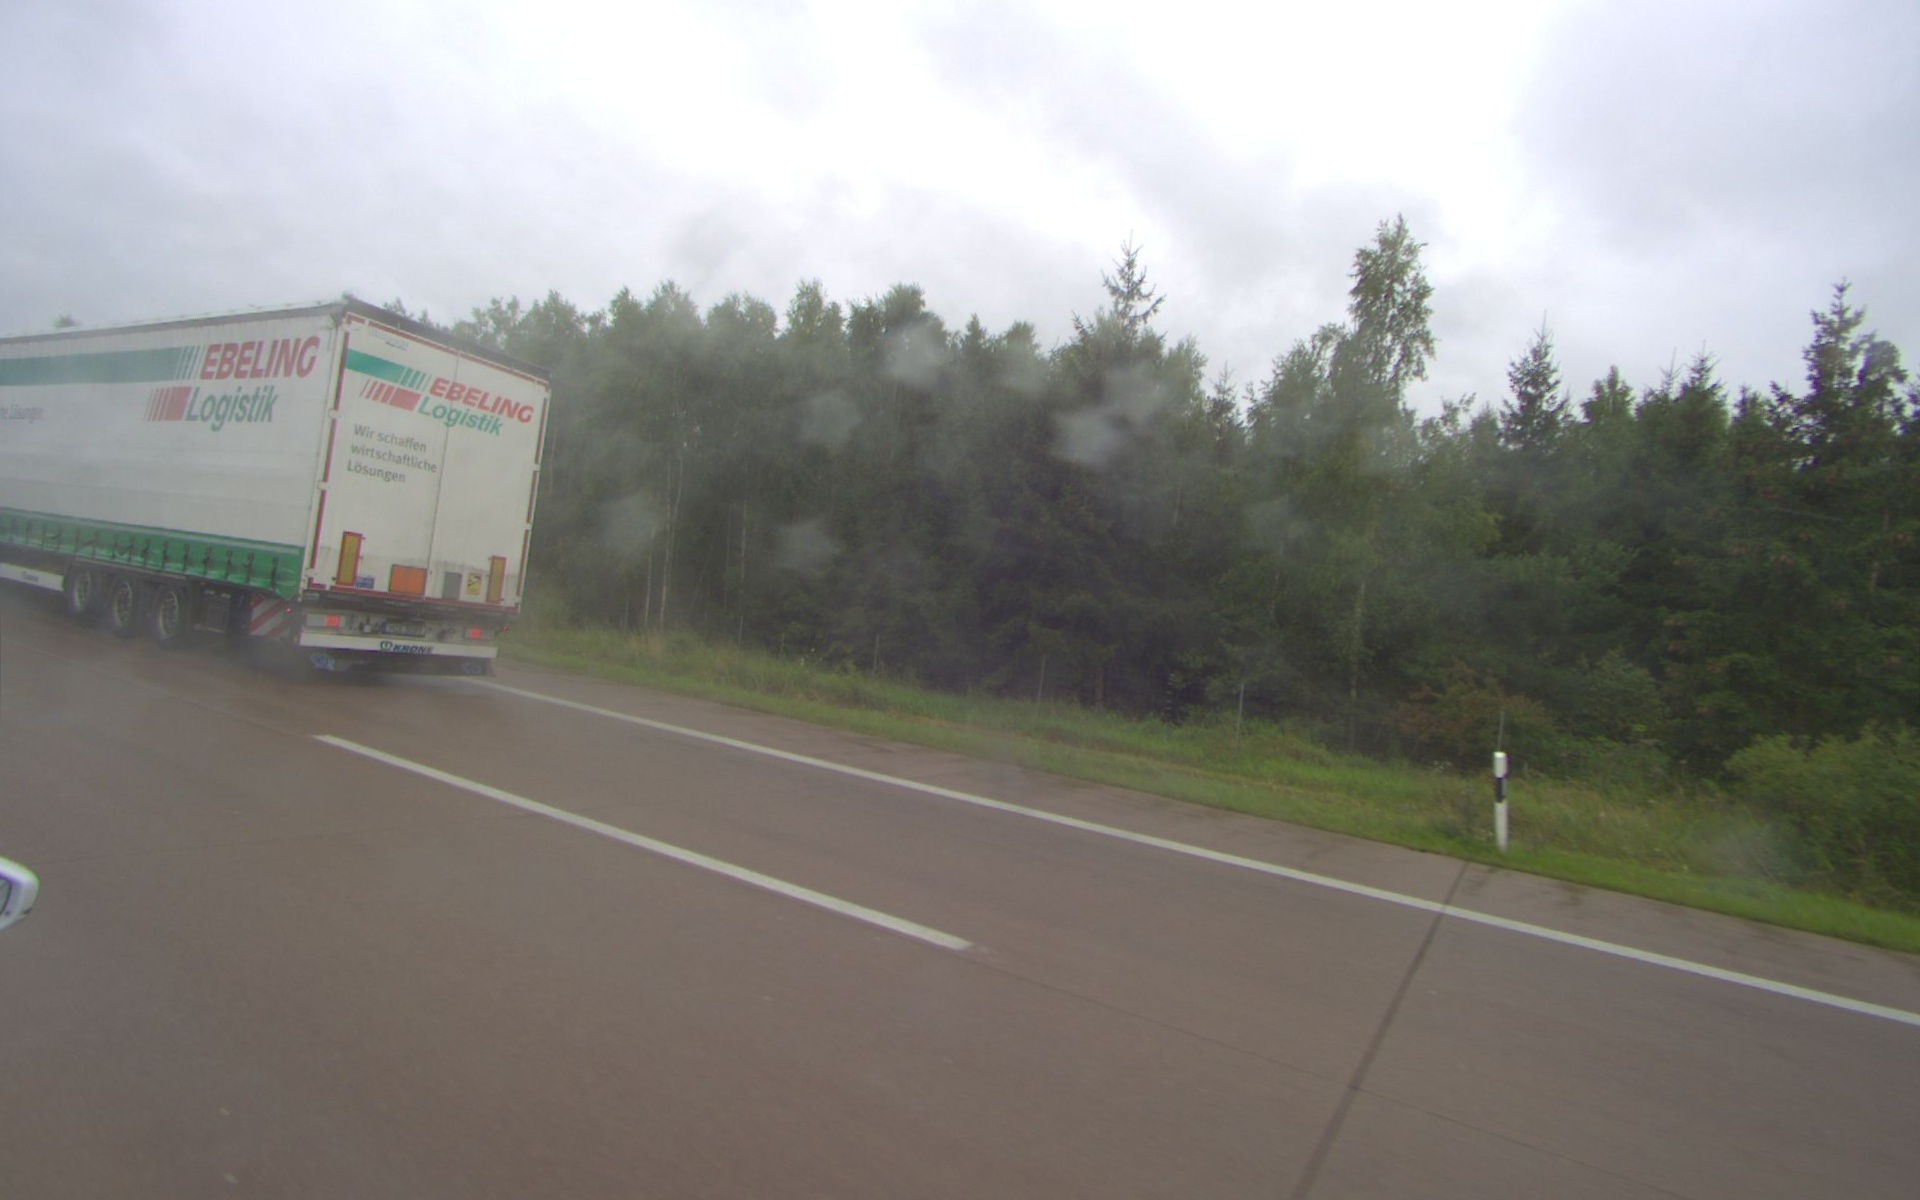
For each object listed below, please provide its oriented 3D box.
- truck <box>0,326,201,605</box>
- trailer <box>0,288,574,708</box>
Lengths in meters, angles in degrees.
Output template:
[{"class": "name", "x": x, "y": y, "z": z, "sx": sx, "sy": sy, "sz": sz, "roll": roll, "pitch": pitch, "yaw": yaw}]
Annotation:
[{"class": "truck", "x": -17.014, "y": -2.395, "z": 18.169, "sx": 6.242, "sy": 4.159, "sz": 2.884, "roll": 7, "pitch": 1, "yaw": 31}, {"class": "trailer", "x": -11.304, "y": -1.634, "z": 14.749, "sx": 12.910, "sy": 4.285, "sz": 2.855, "roll": 7, "pitch": 1, "yaw": 31}]
